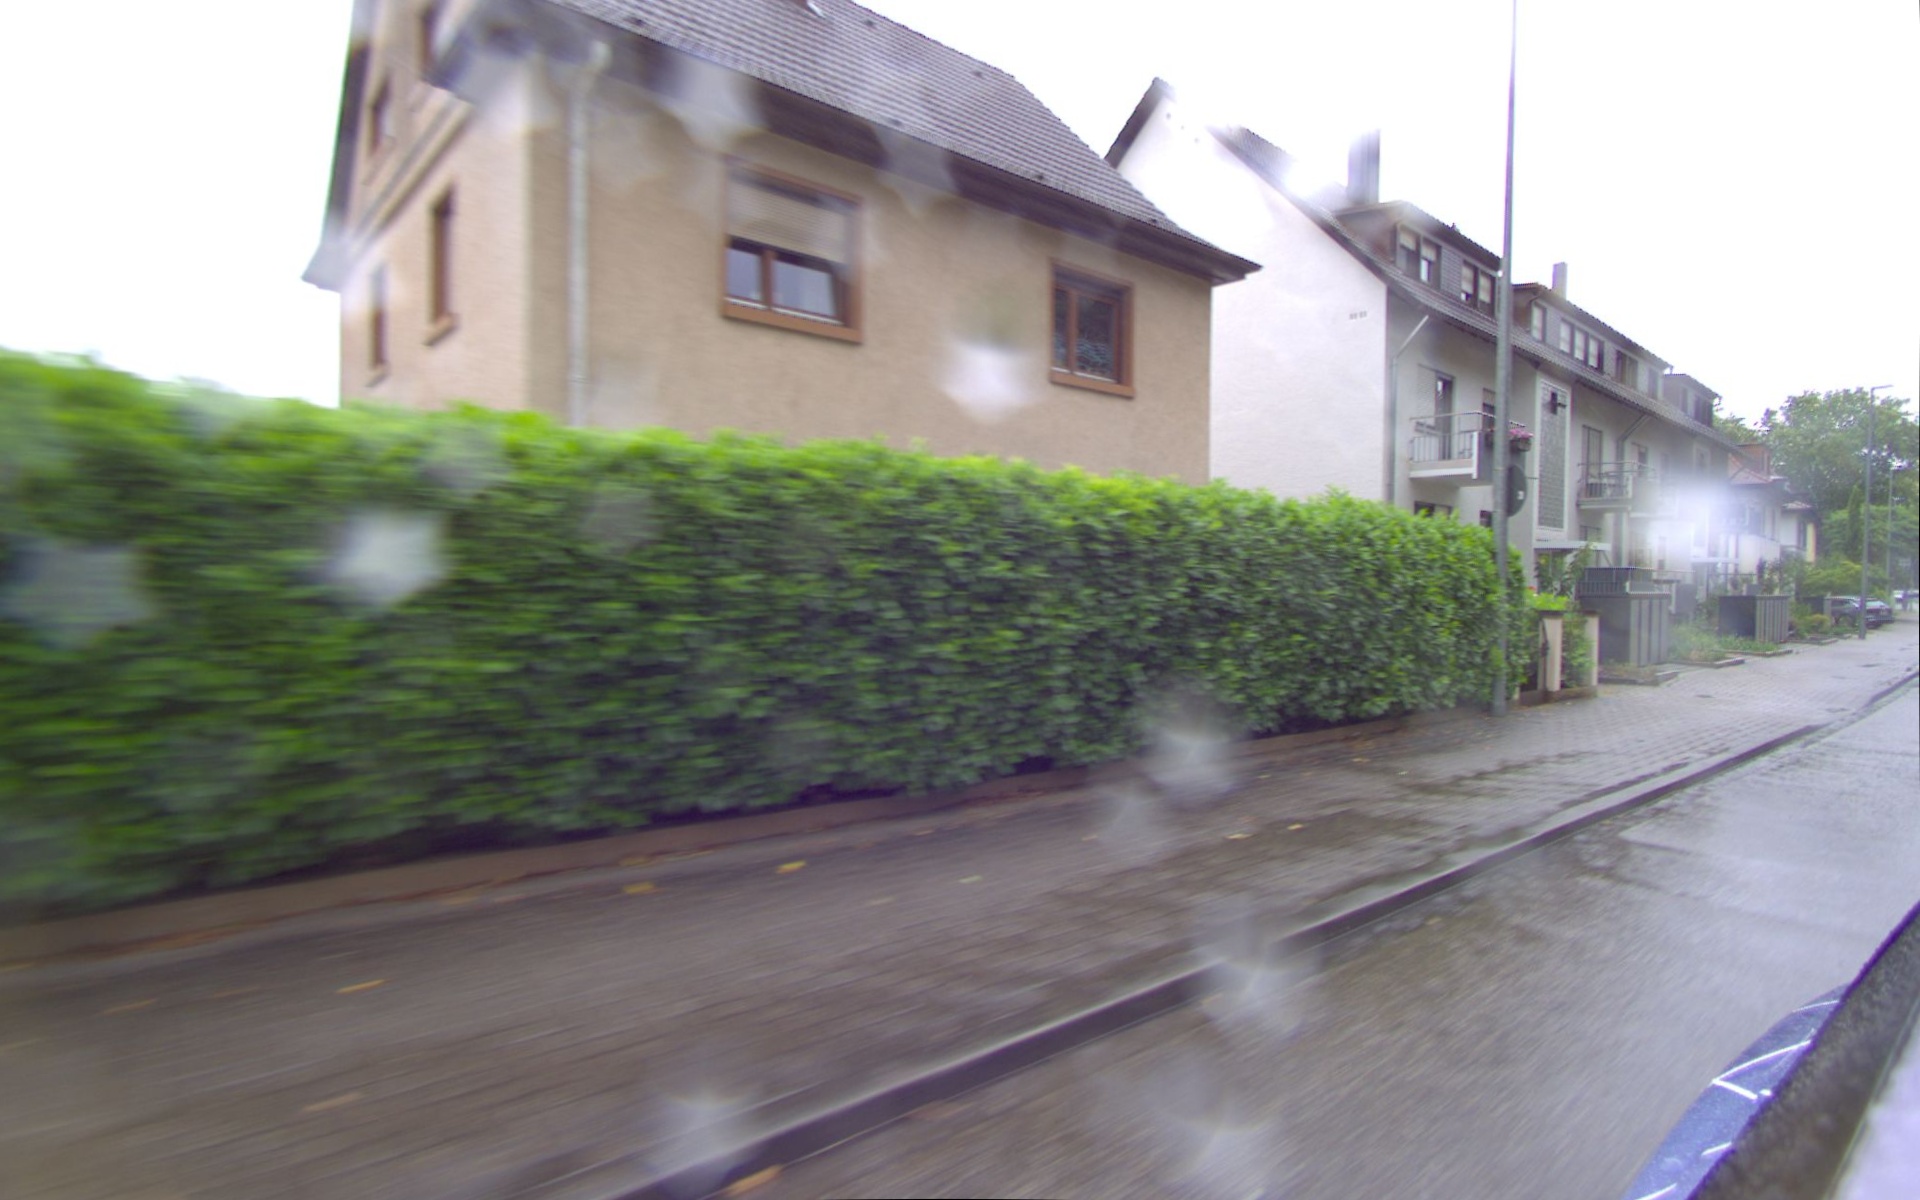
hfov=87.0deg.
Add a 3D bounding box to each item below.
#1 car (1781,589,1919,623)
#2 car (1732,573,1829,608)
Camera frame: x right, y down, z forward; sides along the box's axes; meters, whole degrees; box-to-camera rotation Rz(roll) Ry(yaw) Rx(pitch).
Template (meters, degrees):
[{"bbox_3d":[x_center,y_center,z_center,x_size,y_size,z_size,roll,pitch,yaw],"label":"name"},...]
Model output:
[{"bbox_3d":[39.685,0.233,45.271,1.880,1.381,4.391,-1,1,-11],"label":"car"},{"bbox_3d":[47.325,-0.516,58.425,1.790,1.600,3.990,-1,-5,-42],"label":"car"}]
